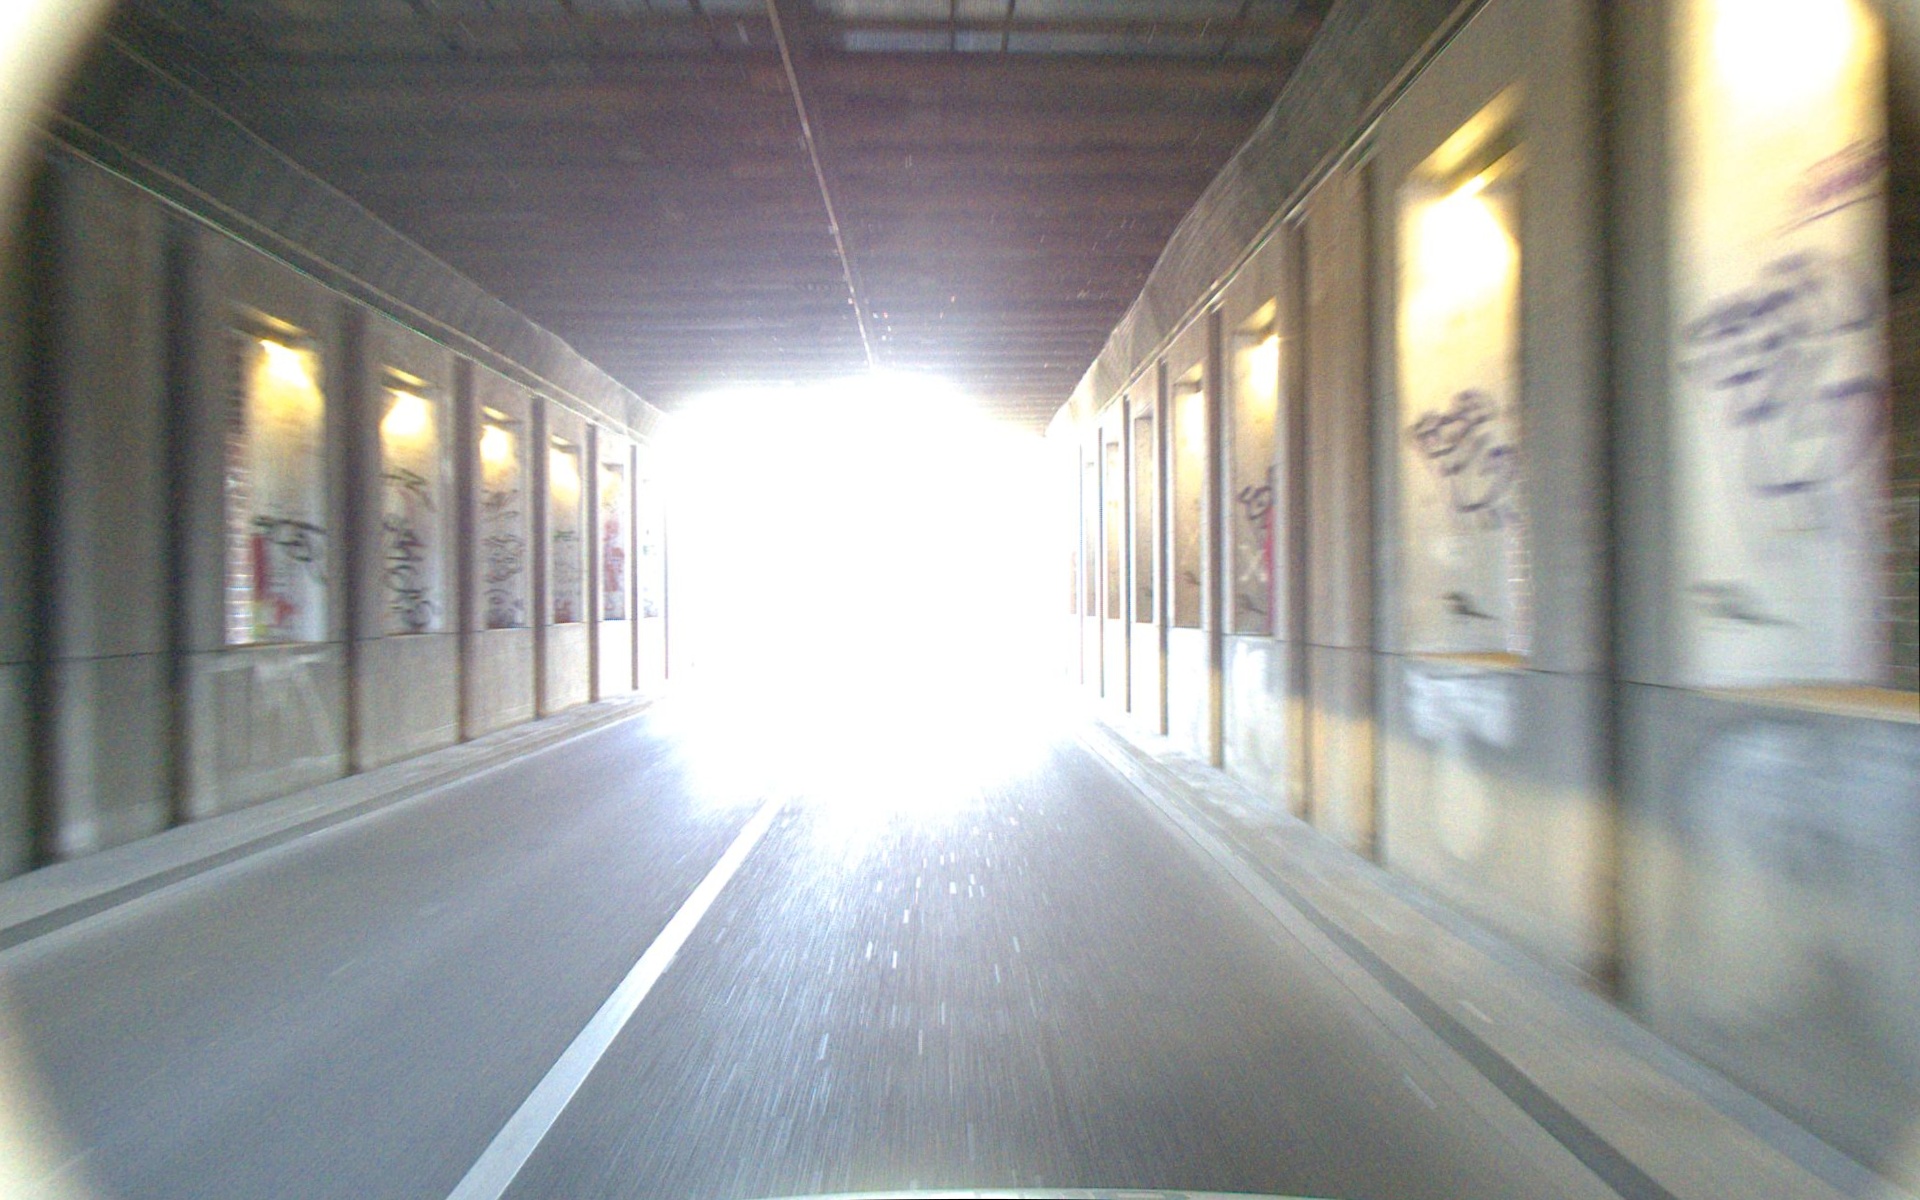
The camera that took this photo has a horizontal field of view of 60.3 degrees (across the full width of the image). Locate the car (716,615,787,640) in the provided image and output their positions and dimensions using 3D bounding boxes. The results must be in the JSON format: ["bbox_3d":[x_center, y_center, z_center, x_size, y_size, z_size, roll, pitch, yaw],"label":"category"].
[{"bbox_3d":[-13.341,1.758,105.924,4.127,1.516,1.875,1,-1,26],"label":"car"}]

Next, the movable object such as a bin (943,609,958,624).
[{"bbox_3d":[-0.908,1.562,158.364,1.339,1.443,1.063,2,-1,-8],"label":"movable object such as a bin"}]
